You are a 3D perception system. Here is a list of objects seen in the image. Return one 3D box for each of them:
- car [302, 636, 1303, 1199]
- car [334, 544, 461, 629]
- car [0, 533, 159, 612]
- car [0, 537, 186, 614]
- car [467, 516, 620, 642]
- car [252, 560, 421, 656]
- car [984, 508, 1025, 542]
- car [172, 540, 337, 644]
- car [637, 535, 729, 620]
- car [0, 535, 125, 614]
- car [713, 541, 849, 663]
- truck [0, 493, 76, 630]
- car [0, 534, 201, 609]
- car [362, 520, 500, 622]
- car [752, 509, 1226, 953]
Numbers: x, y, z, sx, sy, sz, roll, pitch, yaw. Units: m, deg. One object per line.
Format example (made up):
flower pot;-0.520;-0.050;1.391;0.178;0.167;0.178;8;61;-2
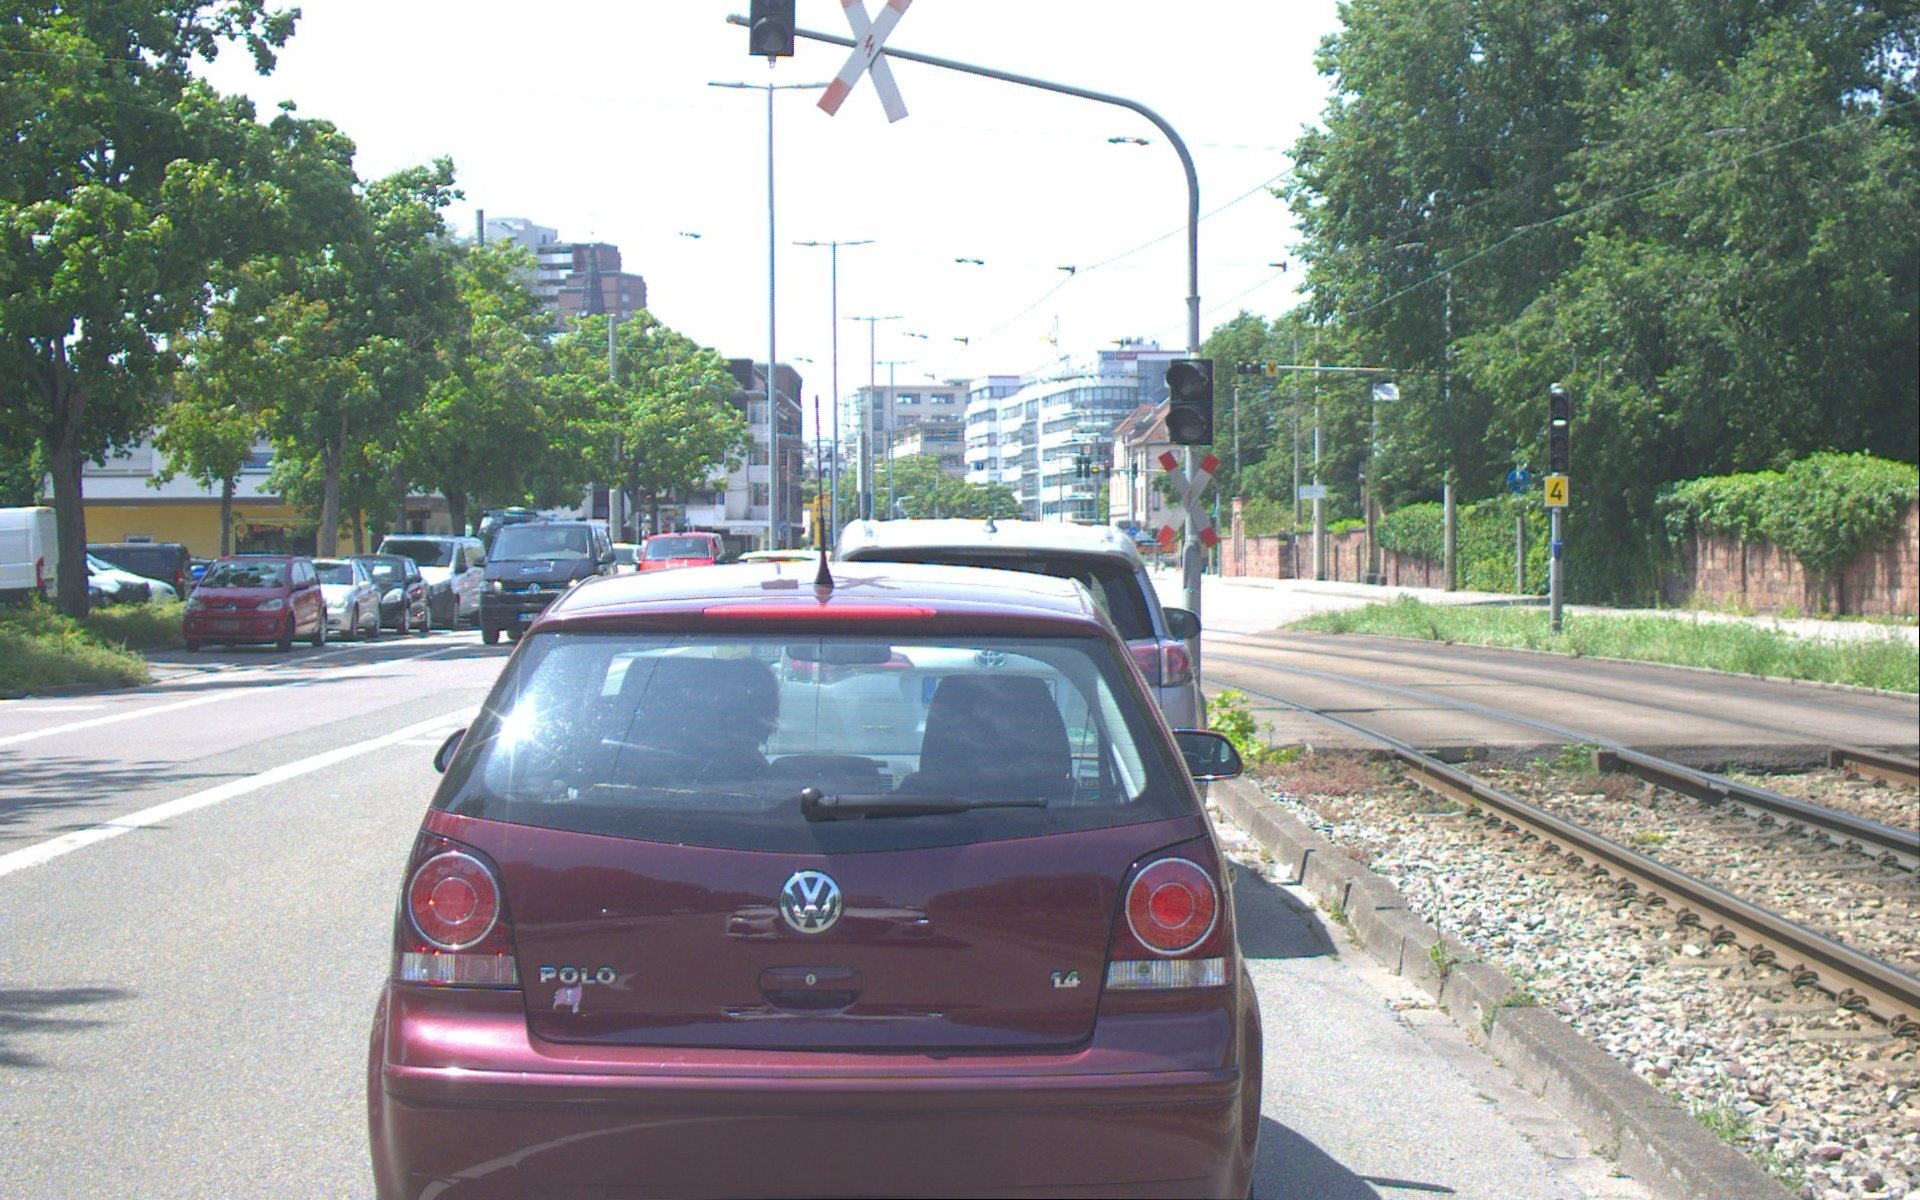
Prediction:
car;-0.283;0.894;7.571;1.609;1.493;4.000;1;1;-1
car;-10.635;-0.275;65.203;1.614;1.479;3.784;3;1;2
car;-21.526;-0.656;81.344;4.718;1.807;1.797;-1;1;-1
car;-21.371;-0.601;83.559;4.718;1.807;1.797;-1;1;-1
car;-6.671;-0.366;55.518;1.918;1.904;4.571;-2;1;-1
car;-10.851;0.104;60.121;1.719;1.422;4.770;-4;1;4
car;2.542;-4.301;197.967;1.918;1.904;4.572;-1;1;-5
car;-10.936;-0.134;53.492;1.672;1.541;3.726;1;0;2
car;-6.586;-0.572;82.158;1.898;1.919;4.820;-2;1;-2
car;-21.521;-0.594;79.037;4.209;1.759;1.857;-1;1;-1
car;-2.212;-0.004;43.192;1.551;1.443;3.412;1;1;-1
truck;-21.214;-0.763;70.300;5.578;2.750;2.432;-1;1;1
car;-21.553;-0.718;86.061;4.718;1.807;1.797;-1;1;-1
car;-10.829;-0.617;70.708;1.863;1.930;4.805;3;1;2
car;0.106;0.466;15.169;1.795;1.677;4.000;1;1;0
